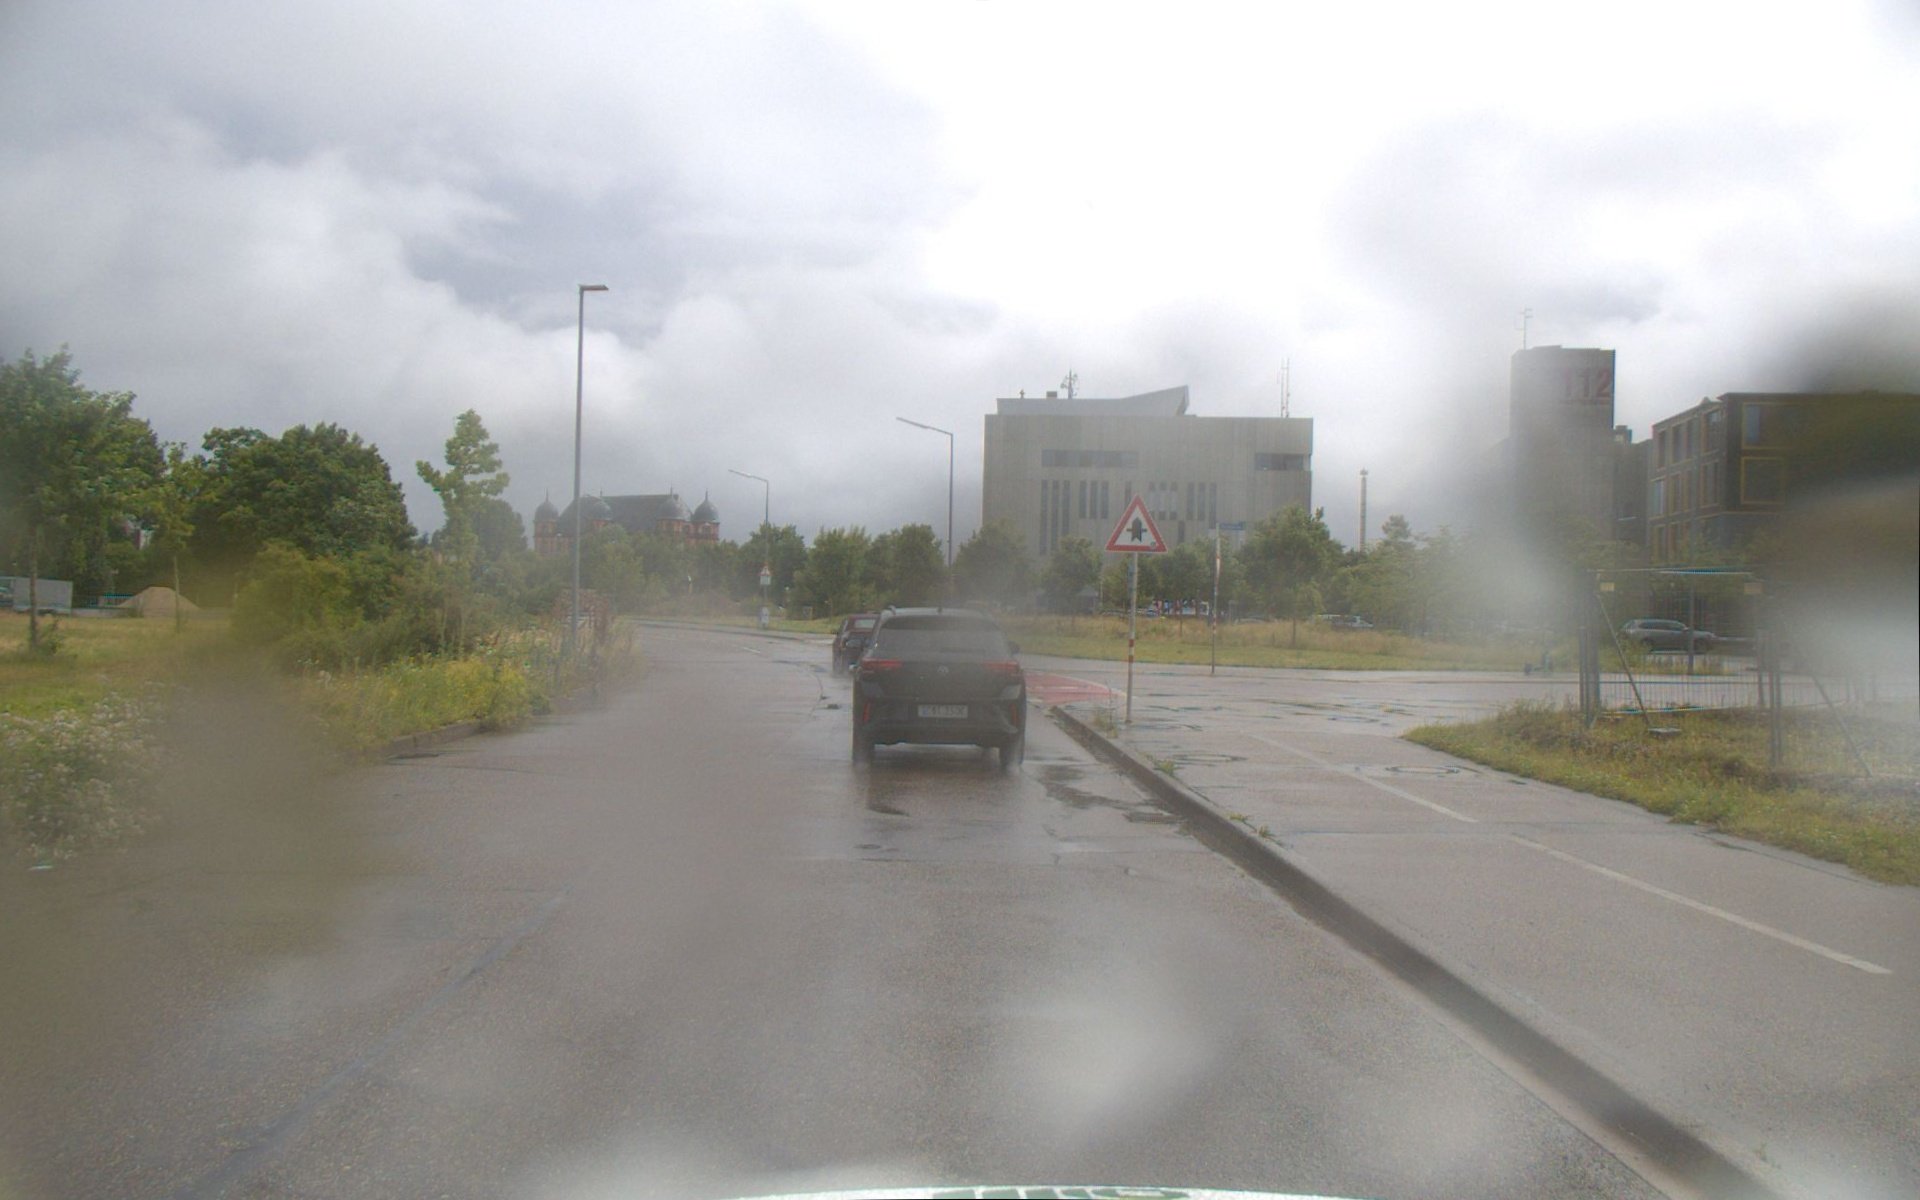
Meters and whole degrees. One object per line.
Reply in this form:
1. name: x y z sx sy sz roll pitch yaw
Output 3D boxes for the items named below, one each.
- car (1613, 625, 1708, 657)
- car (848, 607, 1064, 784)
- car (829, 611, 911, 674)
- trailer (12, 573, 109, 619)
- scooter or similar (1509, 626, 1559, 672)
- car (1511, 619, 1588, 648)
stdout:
1. car: 35.149 2.058 83.104 4.115 1.585 1.668 0 -1 11
2. car: -0.169 0.914 17.748 1.948 1.546 3.996 -3 0 -5
3. car: -2.354 1.055 42.453 1.806 1.467 3.994 -1 0 -7
4. trailer: -44.876 -0.185 82.526 4.063 2.126 1.823 3 -1 -34
5. scooter or similar: 15.813 1.333 45.563 1.262 1.208 0.500 0 2 -22
6. car: 38.159 2.165 107.213 4.445 1.793 2.002 1 0 11
